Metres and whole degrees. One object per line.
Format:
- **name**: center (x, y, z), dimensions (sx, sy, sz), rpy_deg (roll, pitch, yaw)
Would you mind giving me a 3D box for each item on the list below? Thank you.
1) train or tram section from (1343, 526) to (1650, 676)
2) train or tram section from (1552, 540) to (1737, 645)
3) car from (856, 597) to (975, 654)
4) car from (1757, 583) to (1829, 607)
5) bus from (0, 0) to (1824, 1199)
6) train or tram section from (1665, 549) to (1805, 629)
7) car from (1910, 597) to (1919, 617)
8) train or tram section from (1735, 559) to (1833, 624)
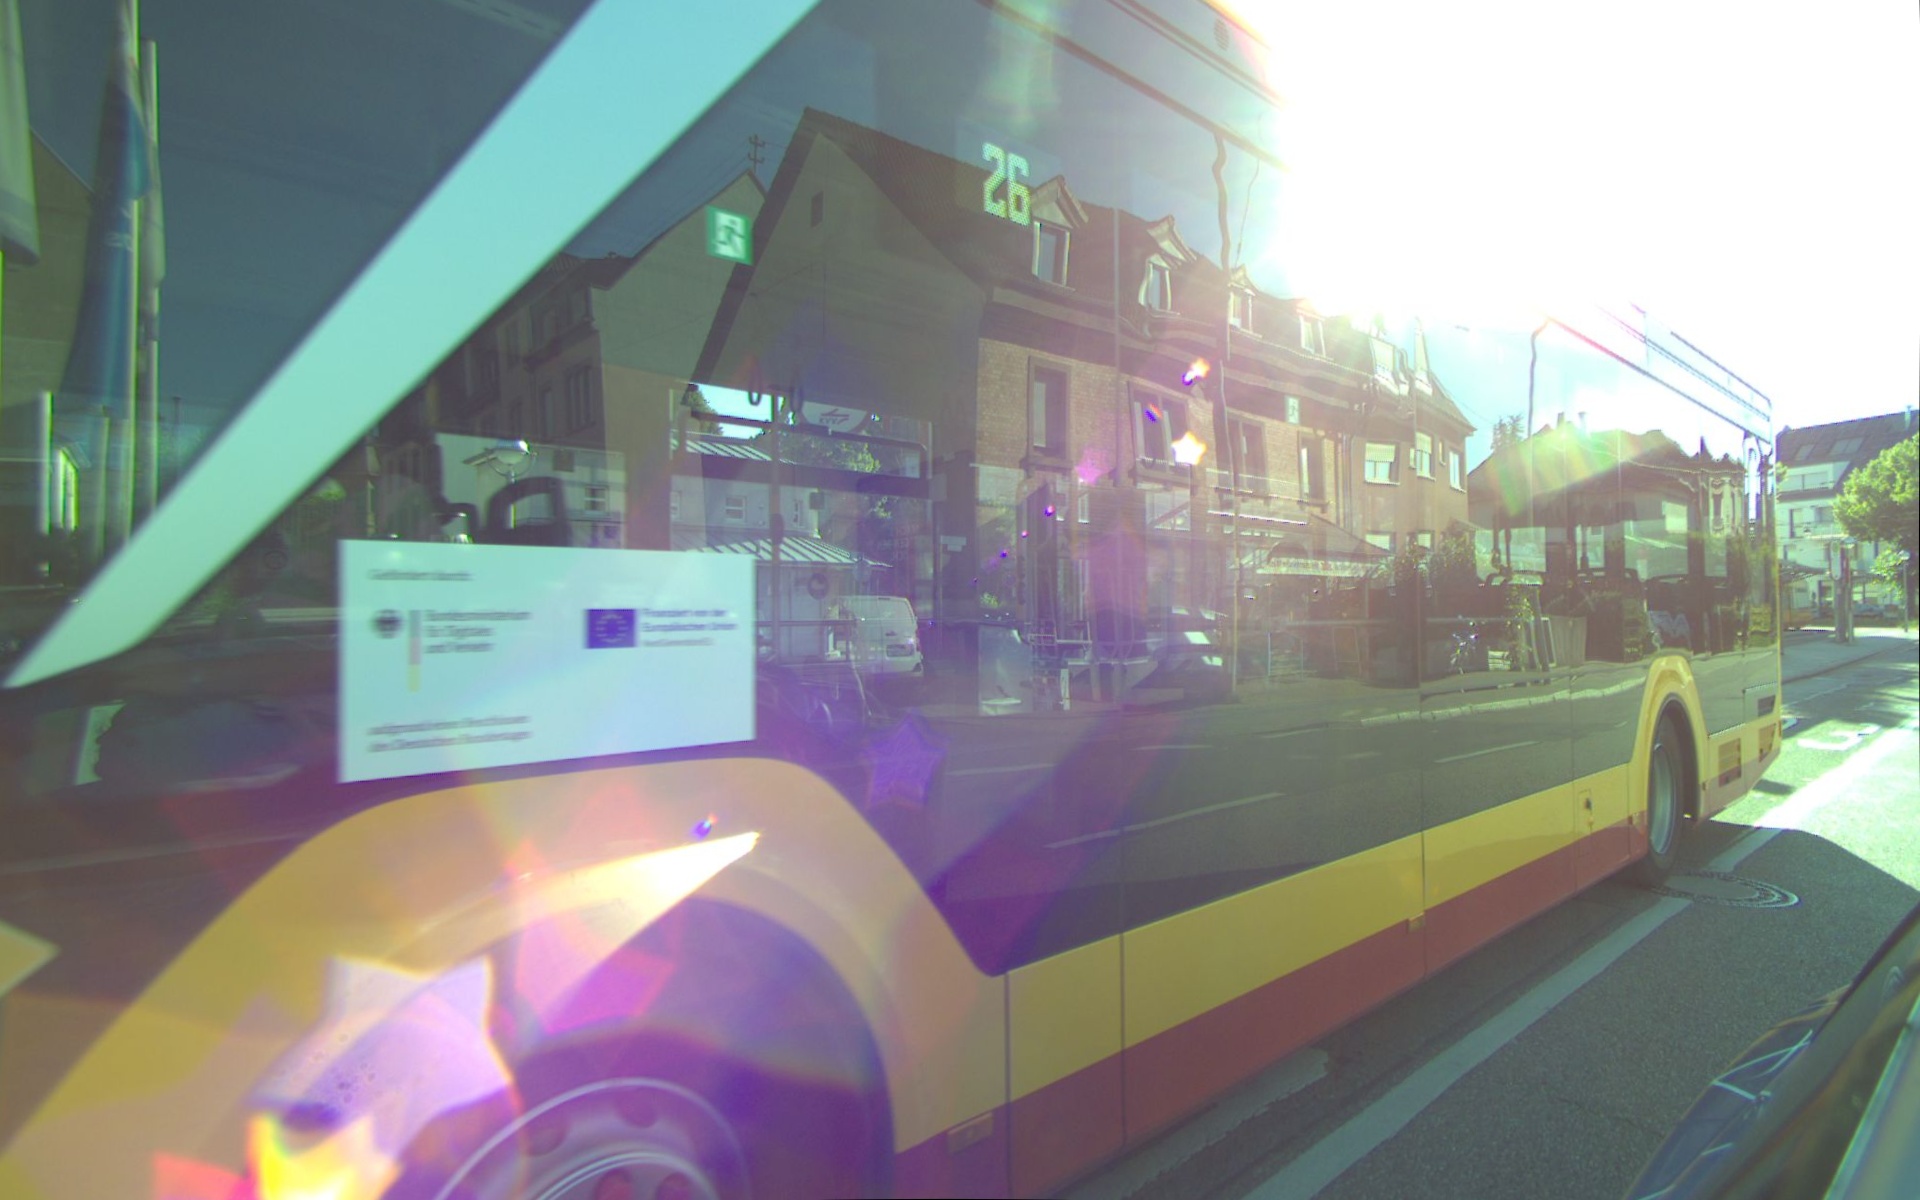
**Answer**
- **train or tram section**: center (16.793, -0.139, 30.486), dimensions (15.697, 3.578, 2.961), rpy_deg (-1, 1, -42)
- **train or tram section**: center (27.351, -0.397, 40.000), dimensions (13.234, 3.578, 2.961), rpy_deg (-1, 1, -42)
- **car**: center (-1.612, 0.825, 35.247), dimensions (1.963, 1.791, 4.451), rpy_deg (0, 1, -37)
- **car**: center (70.438, -0.429, 85.621), dimensions (1.958, 1.981, 4.281), rpy_deg (0, 0, -22)
- **bus**: center (1.075, -0.271, 4.564), dimensions (11.810, 3.460, 2.692), rpy_deg (0, -1, -42)
- **train or tram section**: center (38.678, -0.479, 50.109), dimensions (15.670, 3.465, 2.960), rpy_deg (0, 0, -43)
- **car**: center (73.116, 0.488, 74.706), dimensions (1.574, 1.481, 4.212), rpy_deg (-1, -2, -10)
- **train or tram section**: center (48.754, -0.451, 59.668), dimensions (13.240, 3.465, 2.959), rpy_deg (0, 0, -44)
